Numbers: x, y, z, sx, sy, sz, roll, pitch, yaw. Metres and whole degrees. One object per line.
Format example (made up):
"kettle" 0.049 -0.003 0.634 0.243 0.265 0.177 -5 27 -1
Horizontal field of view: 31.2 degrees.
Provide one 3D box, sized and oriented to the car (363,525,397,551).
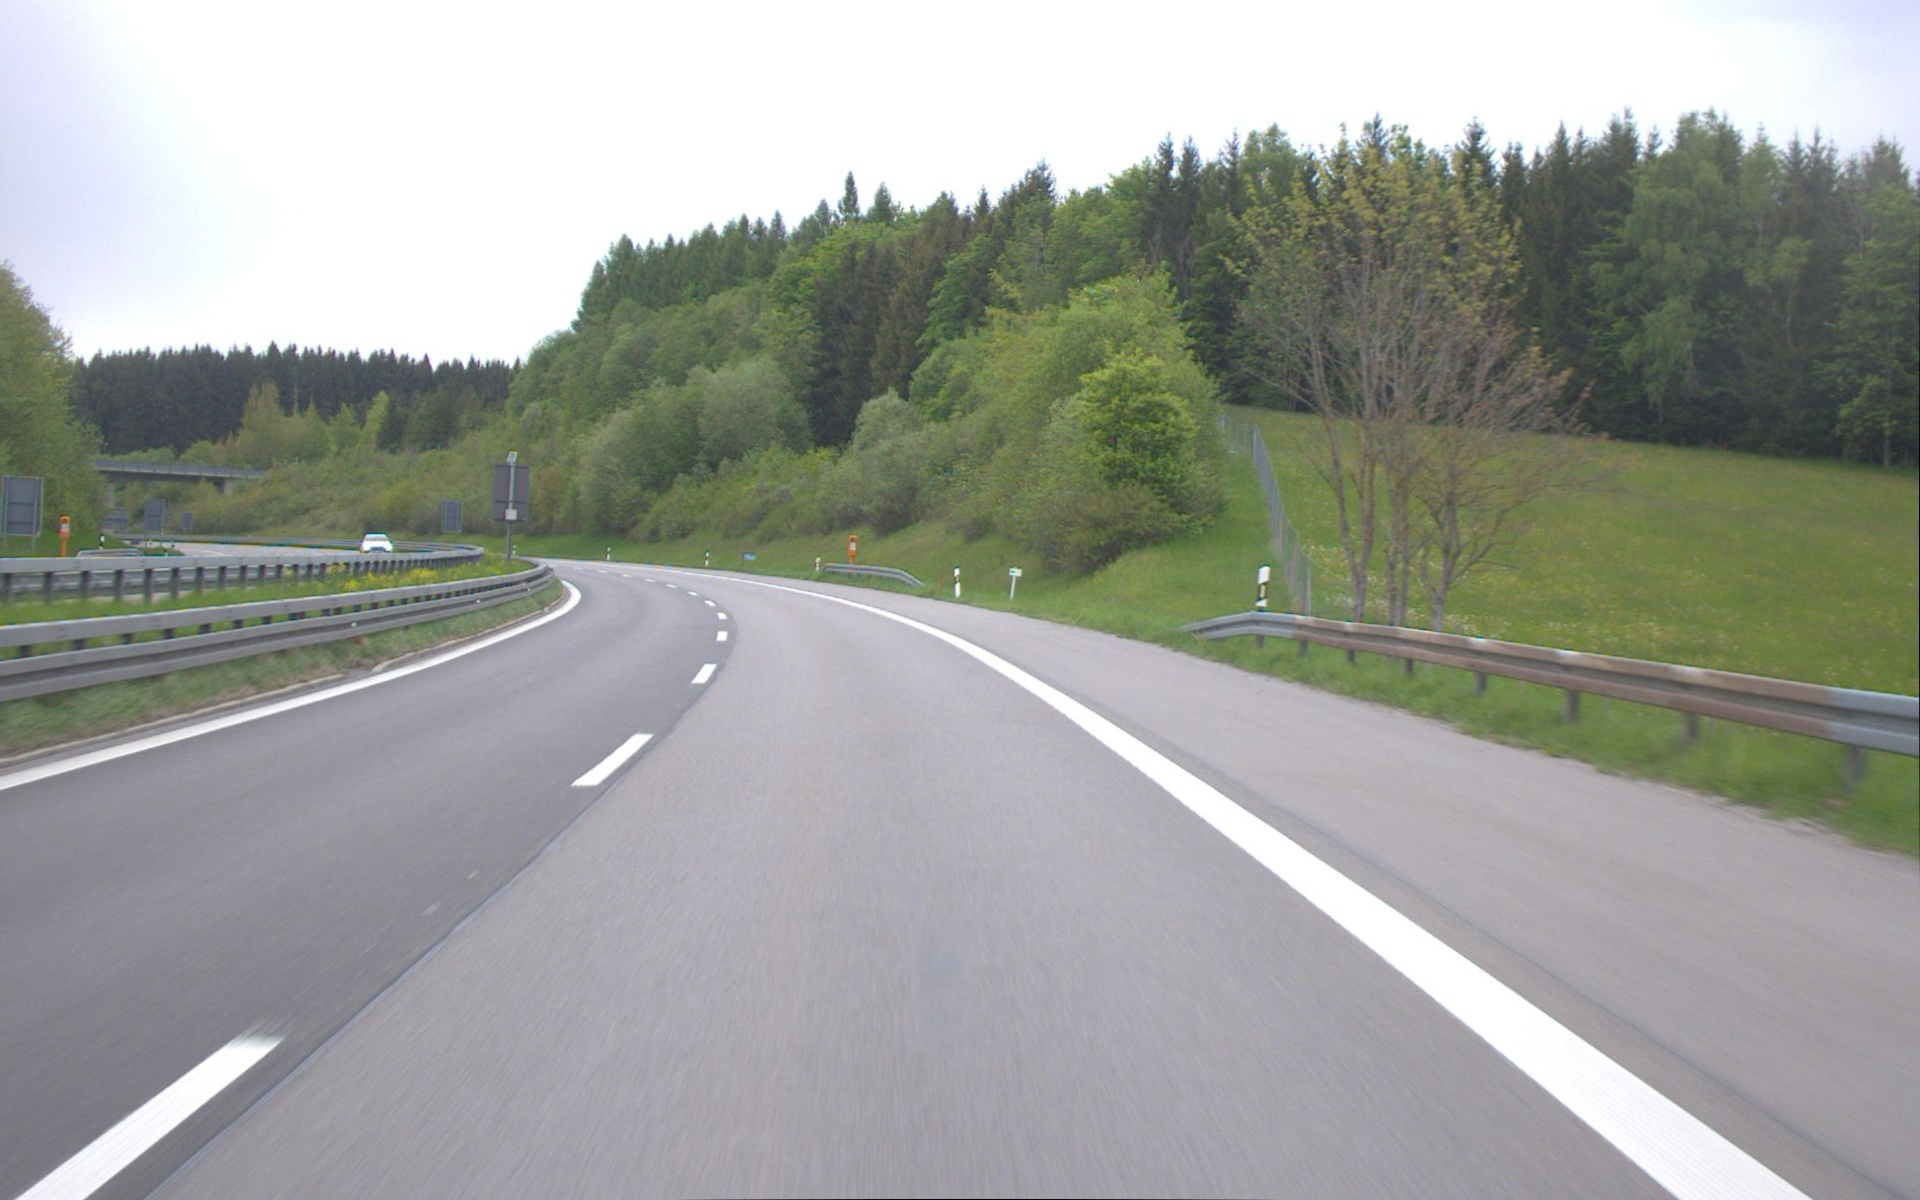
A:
"car" -36.104 -3.865 214.115 1.993 1.424 4.464 4 1 -10
